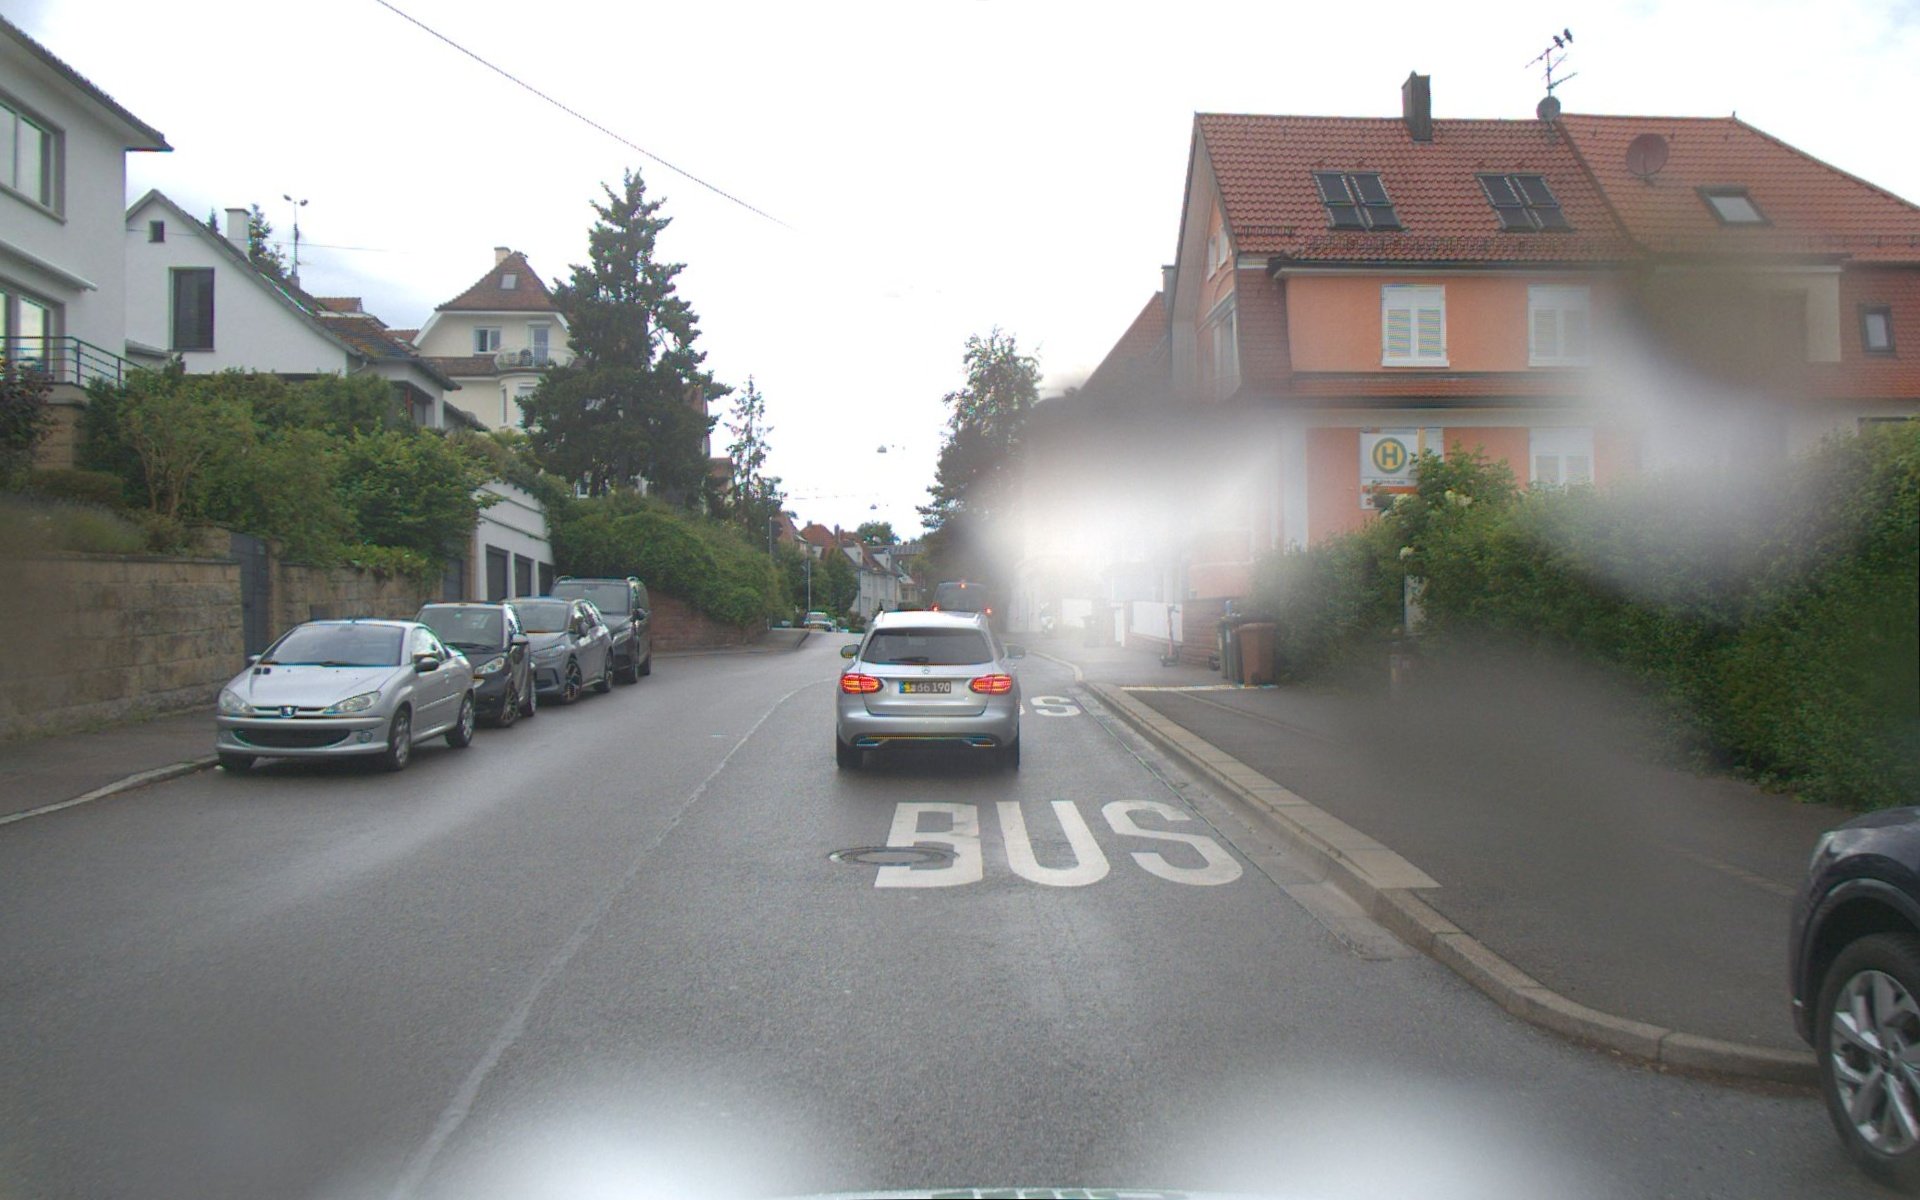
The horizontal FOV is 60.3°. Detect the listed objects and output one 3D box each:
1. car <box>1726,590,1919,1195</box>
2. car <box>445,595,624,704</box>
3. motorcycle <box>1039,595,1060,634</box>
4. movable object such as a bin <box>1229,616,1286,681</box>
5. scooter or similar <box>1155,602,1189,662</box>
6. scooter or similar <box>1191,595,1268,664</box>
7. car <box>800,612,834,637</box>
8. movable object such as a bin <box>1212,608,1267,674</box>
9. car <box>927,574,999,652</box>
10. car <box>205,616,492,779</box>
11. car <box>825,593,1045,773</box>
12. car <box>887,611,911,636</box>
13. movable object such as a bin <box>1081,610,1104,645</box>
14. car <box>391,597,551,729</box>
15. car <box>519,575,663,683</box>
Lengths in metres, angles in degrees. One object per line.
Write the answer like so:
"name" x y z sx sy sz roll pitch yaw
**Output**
"car" 3.391 0.749 3.167 1.719 1.557 4.203 0 0 -3
"car" -6.548 0.709 25.926 1.860 1.541 4.340 0 0 -3
"motorcycle" 3.078 0.501 56.950 0.570 1.283 2.331 -3 0 0
"movable object such as a bin" 4.617 0.742 25.666 0.565 0.986 0.662 1 0 -35
"scooter or similar" 4.549 0.673 35.573 0.678 1.245 1.300 -1 0 5
"scooter or similar" 5.190 0.568 31.861 1.234 1.245 0.694 -3 -1 30
"car" -9.102 1.538 105.396 2.075 1.497 4.014 0 0 -4
"movable object such as a bin" 4.660 0.672 27.620 0.697 1.047 0.757 -3 0 -4
"car" 0.072 0.314 43.922 1.787 1.915 4.095 -2 1 0
"car" -5.938 0.875 16.517 1.577 1.361 3.839 0 0 -3
"car" -0.268 0.729 16.780 1.942 1.581 4.297 0 0 -1
"car" -6.598 2.544 179.175 2.417 2.441 4.000 -4 0 -1
"movable object such as a bin" 3.780 0.773 47.223 0.538 0.952 0.633 -4 0 -3
"car" -6.252 0.746 21.418 1.468 1.550 3.154 0 0 -7
"car" -6.984 0.497 31.869 2.088 1.892 5.586 0 0 -6
